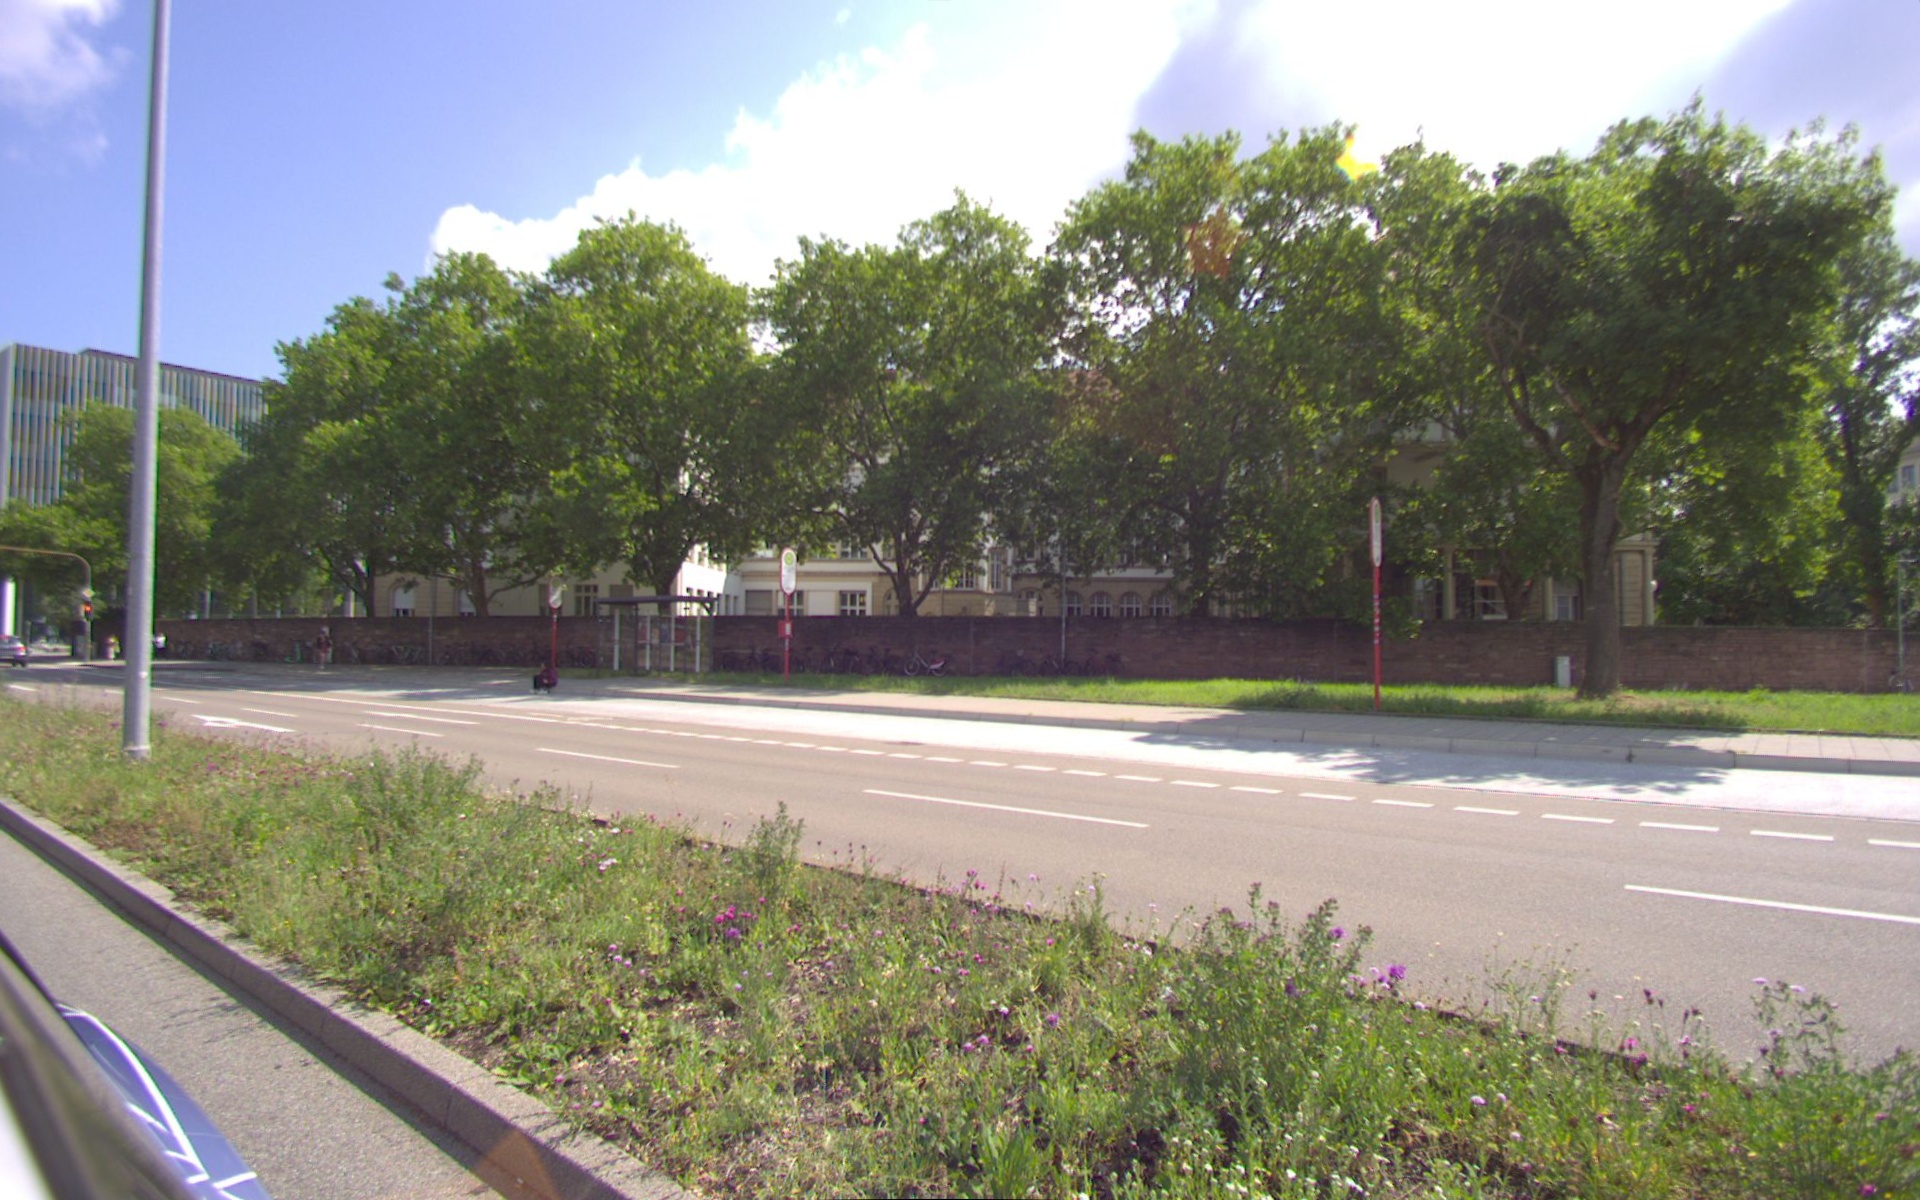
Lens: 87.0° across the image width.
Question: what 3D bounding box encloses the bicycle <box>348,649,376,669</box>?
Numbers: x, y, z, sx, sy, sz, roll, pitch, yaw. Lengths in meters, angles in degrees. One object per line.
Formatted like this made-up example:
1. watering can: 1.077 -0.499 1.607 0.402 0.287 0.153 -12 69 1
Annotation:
1. bicycle: -28.476 2.804 48.168 1.393 0.962 0.364 -1 -3 23

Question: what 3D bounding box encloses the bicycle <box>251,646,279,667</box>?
1. bicycle: -35.591 2.882 51.811 1.873 1.056 0.391 -1 -3 29

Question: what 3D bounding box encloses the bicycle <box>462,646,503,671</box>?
1. bicycle: -20.950 2.573 44.409 1.743 1.081 0.580 -1 -3 22

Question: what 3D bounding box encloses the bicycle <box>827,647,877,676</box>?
1. bicycle: -4.110 2.337 38.558 1.857 1.081 0.580 -1 -3 22

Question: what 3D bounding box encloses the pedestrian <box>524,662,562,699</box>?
1. pedestrian: -11.513 2.206 27.957 0.742 0.970 0.688 -2 -3 37

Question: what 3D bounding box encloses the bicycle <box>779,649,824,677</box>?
1. bicycle: -6.128 2.420 39.053 1.617 1.081 0.581 -1 -3 17

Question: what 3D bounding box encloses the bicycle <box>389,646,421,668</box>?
1. bicycle: -25.541 2.618 46.569 1.616 0.962 0.368 -1 -3 23

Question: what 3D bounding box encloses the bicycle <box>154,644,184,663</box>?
1. bicycle: -44.514 3.009 56.927 1.873 1.056 0.625 -1 -3 29

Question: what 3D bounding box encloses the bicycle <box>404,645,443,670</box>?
1. bicycle: -24.221 2.593 45.704 1.744 1.081 0.579 -1 -3 23

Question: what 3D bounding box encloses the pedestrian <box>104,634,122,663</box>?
1. pedestrian: -47.941 2.748 57.278 0.725 1.664 0.556 -2 -3 33

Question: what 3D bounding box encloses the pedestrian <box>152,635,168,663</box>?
1. pedestrian: -44.367 2.724 56.143 0.614 1.552 0.472 -2 -3 33

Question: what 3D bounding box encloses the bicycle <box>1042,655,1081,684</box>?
1. bicycle: 3.654 2.497 36.580 1.359 1.019 0.390 -1 -3 18

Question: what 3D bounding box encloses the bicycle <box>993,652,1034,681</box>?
1. bicycle: 1.958 2.424 37.011 1.444 1.019 0.469 -1 -3 18

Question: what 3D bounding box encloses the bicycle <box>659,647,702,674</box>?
1. bicycle: -11.224 2.414 40.618 1.617 1.081 0.581 -1 -3 17

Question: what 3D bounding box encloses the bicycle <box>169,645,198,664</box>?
1. bicycle: -42.742 2.981 55.715 1.873 1.056 0.560 -1 -3 29

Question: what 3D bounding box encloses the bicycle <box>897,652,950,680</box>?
1. bicycle: -1.362 2.468 37.763 1.948 1.019 0.469 -1 -3 18

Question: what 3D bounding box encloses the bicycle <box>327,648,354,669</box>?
1. bicycle: -29.860 2.811 48.800 1.393 0.962 0.364 -1 -3 23

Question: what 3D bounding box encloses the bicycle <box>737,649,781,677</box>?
1. bicycle: -7.860 2.457 39.569 1.617 1.081 0.581 -1 -3 17

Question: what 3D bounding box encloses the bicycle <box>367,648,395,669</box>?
1. bicycle: -27.151 2.753 47.430 1.393 0.962 0.364 -1 -3 23

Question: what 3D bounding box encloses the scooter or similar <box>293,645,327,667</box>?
1. scooter or similar: -32.152 2.780 50.028 1.873 1.056 0.576 -1 -3 29

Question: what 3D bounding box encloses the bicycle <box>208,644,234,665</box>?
1. bicycle: -39.178 2.883 53.655 1.873 1.056 0.367 -1 -3 29

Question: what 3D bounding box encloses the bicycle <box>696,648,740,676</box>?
1. bicycle: -9.598 2.458 40.122 1.617 1.081 0.581 -1 -3 17

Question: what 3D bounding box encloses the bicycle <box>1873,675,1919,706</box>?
1. bicycle: 31.564 3.050 34.020 1.498 0.999 0.395 1 -3 -9

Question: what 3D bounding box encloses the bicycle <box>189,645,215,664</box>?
1. bicycle: -40.934 2.935 54.660 1.873 1.056 0.367 -1 -3 29

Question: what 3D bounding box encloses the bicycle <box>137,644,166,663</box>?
1. bicycle: -46.345 3.049 57.992 1.873 1.056 0.625 -1 -3 29

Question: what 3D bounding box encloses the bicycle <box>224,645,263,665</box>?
1. bicycle: -37.327 2.857 52.721 1.863 1.056 0.591 0 -3 14

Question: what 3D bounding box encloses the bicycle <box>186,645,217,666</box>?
1. bicycle: -40.130 2.921 53.569 1.873 1.056 0.588 -1 -3 29

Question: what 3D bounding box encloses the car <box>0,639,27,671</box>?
1. car: -44.943 2.546 47.006 4.140 1.456 1.684 -2 -4 38

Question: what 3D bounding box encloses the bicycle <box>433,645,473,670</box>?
1. bicycle: -22.593 2.555 45.084 1.744 1.081 0.579 -1 -3 23

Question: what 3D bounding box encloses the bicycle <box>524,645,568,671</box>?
1. bicycle: -17.553 2.472 42.910 1.741 1.081 0.581 -1 -3 17

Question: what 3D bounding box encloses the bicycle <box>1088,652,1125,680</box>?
1. bicycle: 5.259 2.362 36.319 1.244 1.019 0.351 -1 -3 18

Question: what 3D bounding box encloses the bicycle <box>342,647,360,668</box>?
1. bicycle: -28.379 2.677 47.148 0.362 0.962 1.626 2 -3 -43

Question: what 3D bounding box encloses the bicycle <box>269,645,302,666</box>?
1. bicycle: -33.919 2.794 50.885 1.873 1.056 0.576 -1 -3 29

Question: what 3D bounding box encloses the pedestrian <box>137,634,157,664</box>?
1. pedestrian: -44.448 2.678 55.334 0.729 1.664 0.636 -2 -3 33

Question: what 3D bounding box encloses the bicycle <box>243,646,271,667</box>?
1. bicycle: -35.765 2.869 51.482 1.873 1.056 0.370 -1 -3 29

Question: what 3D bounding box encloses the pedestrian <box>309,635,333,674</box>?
1. pedestrian: -26.814 2.273 42.445 0.744 1.622 0.649 -2 -2 39

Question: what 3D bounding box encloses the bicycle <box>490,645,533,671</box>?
1. bicycle: -19.305 2.489 43.576 1.741 1.081 0.581 -1 -3 17

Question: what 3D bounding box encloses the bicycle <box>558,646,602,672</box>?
1. bicycle: -15.845 2.463 42.220 1.741 1.081 0.581 -1 -3 17
